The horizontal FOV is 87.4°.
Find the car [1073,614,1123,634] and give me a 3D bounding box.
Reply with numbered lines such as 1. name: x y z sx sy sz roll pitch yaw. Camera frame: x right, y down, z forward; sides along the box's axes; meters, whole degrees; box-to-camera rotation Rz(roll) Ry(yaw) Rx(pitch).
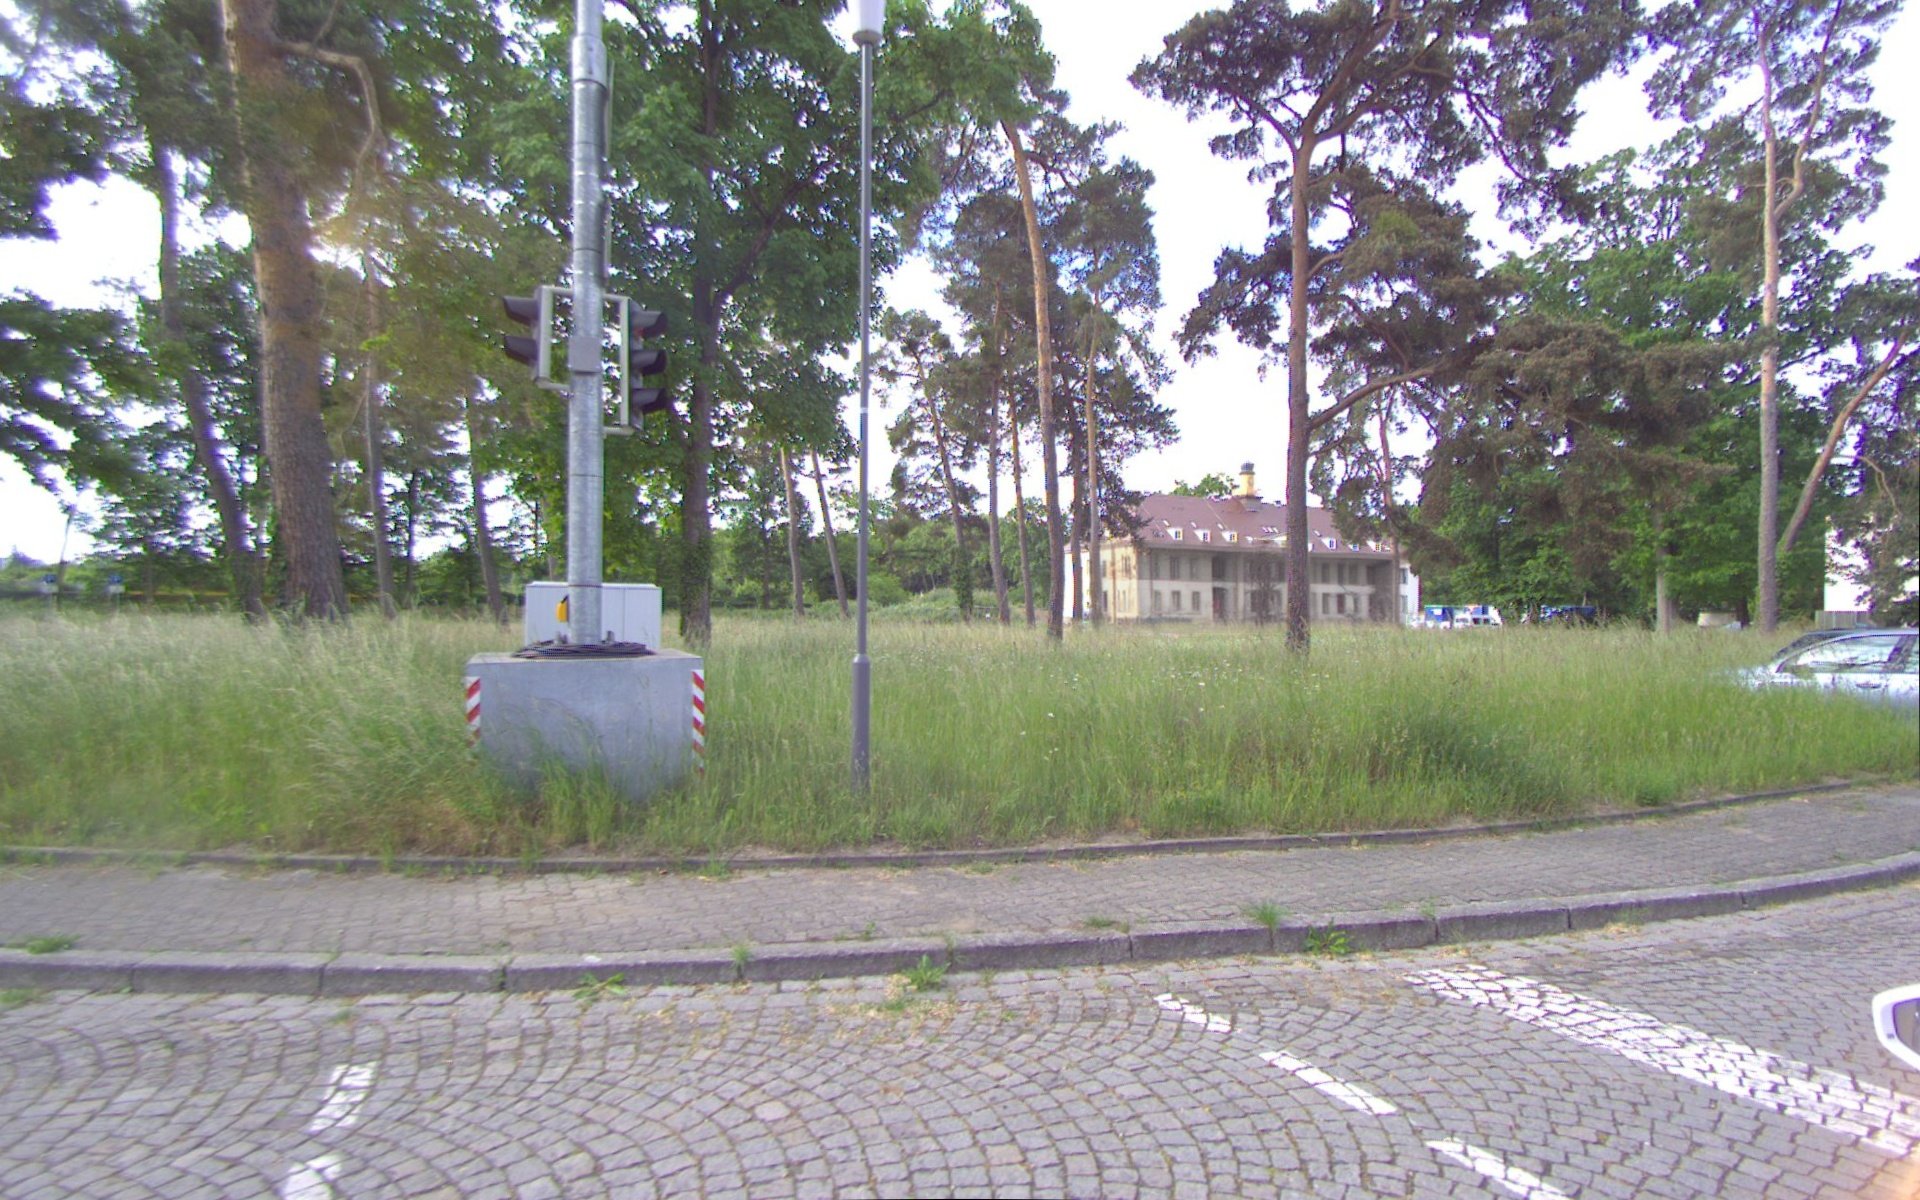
1. car: 15.800 2.713 115.249 2.347 2.143 5.767 3 -2 -35

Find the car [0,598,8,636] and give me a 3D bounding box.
1. car: -42.459 0.722 42.621 1.693 1.631 4.033 3 -1 -24

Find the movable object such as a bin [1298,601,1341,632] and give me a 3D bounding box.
1. movable object such as a bin: 44.201 2.021 123.666 2.103 3.689 6.126 2 -1 -9

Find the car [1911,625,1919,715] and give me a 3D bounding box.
1. car: 17.476 1.170 15.114 1.831 1.475 4.239 1 0 -26

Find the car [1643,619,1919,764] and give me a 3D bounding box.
1. car: 10.765 1.029 11.719 1.802 1.490 4.316 2 -1 -25

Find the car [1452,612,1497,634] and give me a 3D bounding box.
1. car: 53.579 2.421 104.597 4.290 2.122 2.054 3 -2 -27

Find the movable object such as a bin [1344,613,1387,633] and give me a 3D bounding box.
1. movable object such as a bin: 48.038 2.735 119.083 2.345 2.283 4.499 2 -2 -21

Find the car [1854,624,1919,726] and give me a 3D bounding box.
1. car: 15.556 1.142 13.853 1.923 1.474 4.422 2 -1 -25

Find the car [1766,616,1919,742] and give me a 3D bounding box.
1. car: 13.219 1.044 12.601 1.848 1.557 4.481 2 -1 -29
